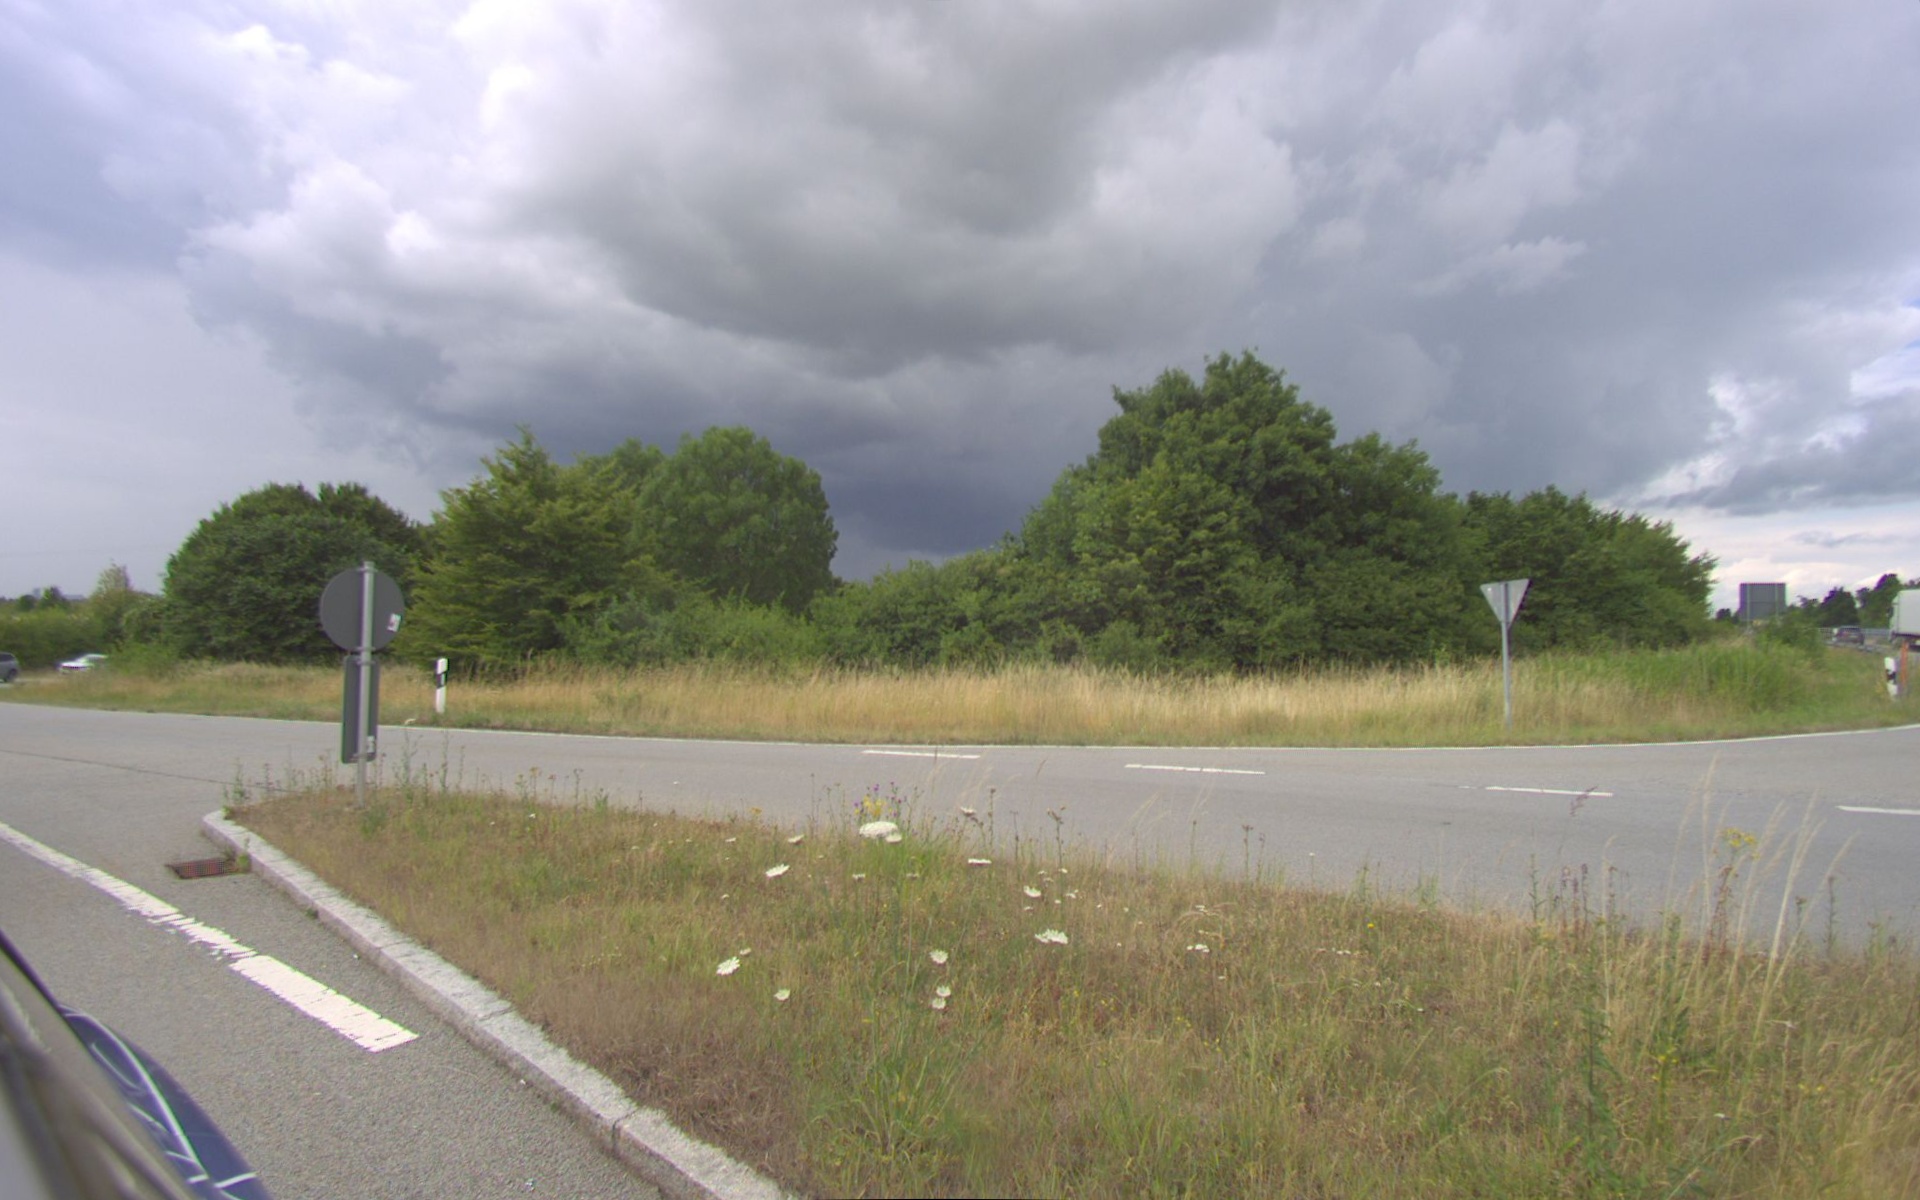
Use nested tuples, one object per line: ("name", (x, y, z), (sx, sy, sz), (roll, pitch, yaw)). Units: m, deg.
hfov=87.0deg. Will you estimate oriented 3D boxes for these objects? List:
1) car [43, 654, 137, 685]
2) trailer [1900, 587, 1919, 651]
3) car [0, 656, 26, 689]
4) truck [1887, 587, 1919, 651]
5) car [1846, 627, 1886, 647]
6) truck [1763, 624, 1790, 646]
("car", (-54.953, 4.355, 64.074), (1.968, 1.732, 5.218), (3, -3, -9))
("trailer", (60.329, 1.156, 60.682), (3.118, 4.044, 13.736), (1, -1, 32))
("car", (-53.182, 3.912, 54.357), (1.967, 1.732, 5.220), (3, -3, -12))
("truck", (63.595, 1.310, 66.065), (3.118, 4.044, 7.228), (1, -1, 32))
("car", (79.170, 3.268, 88.482), (1.995, 1.614, 4.175), (-1, -4, 34))
("truck", (101.218, 4.335, 125.487), (2.061, 2.724, 5.974), (-1, -2, 34))
